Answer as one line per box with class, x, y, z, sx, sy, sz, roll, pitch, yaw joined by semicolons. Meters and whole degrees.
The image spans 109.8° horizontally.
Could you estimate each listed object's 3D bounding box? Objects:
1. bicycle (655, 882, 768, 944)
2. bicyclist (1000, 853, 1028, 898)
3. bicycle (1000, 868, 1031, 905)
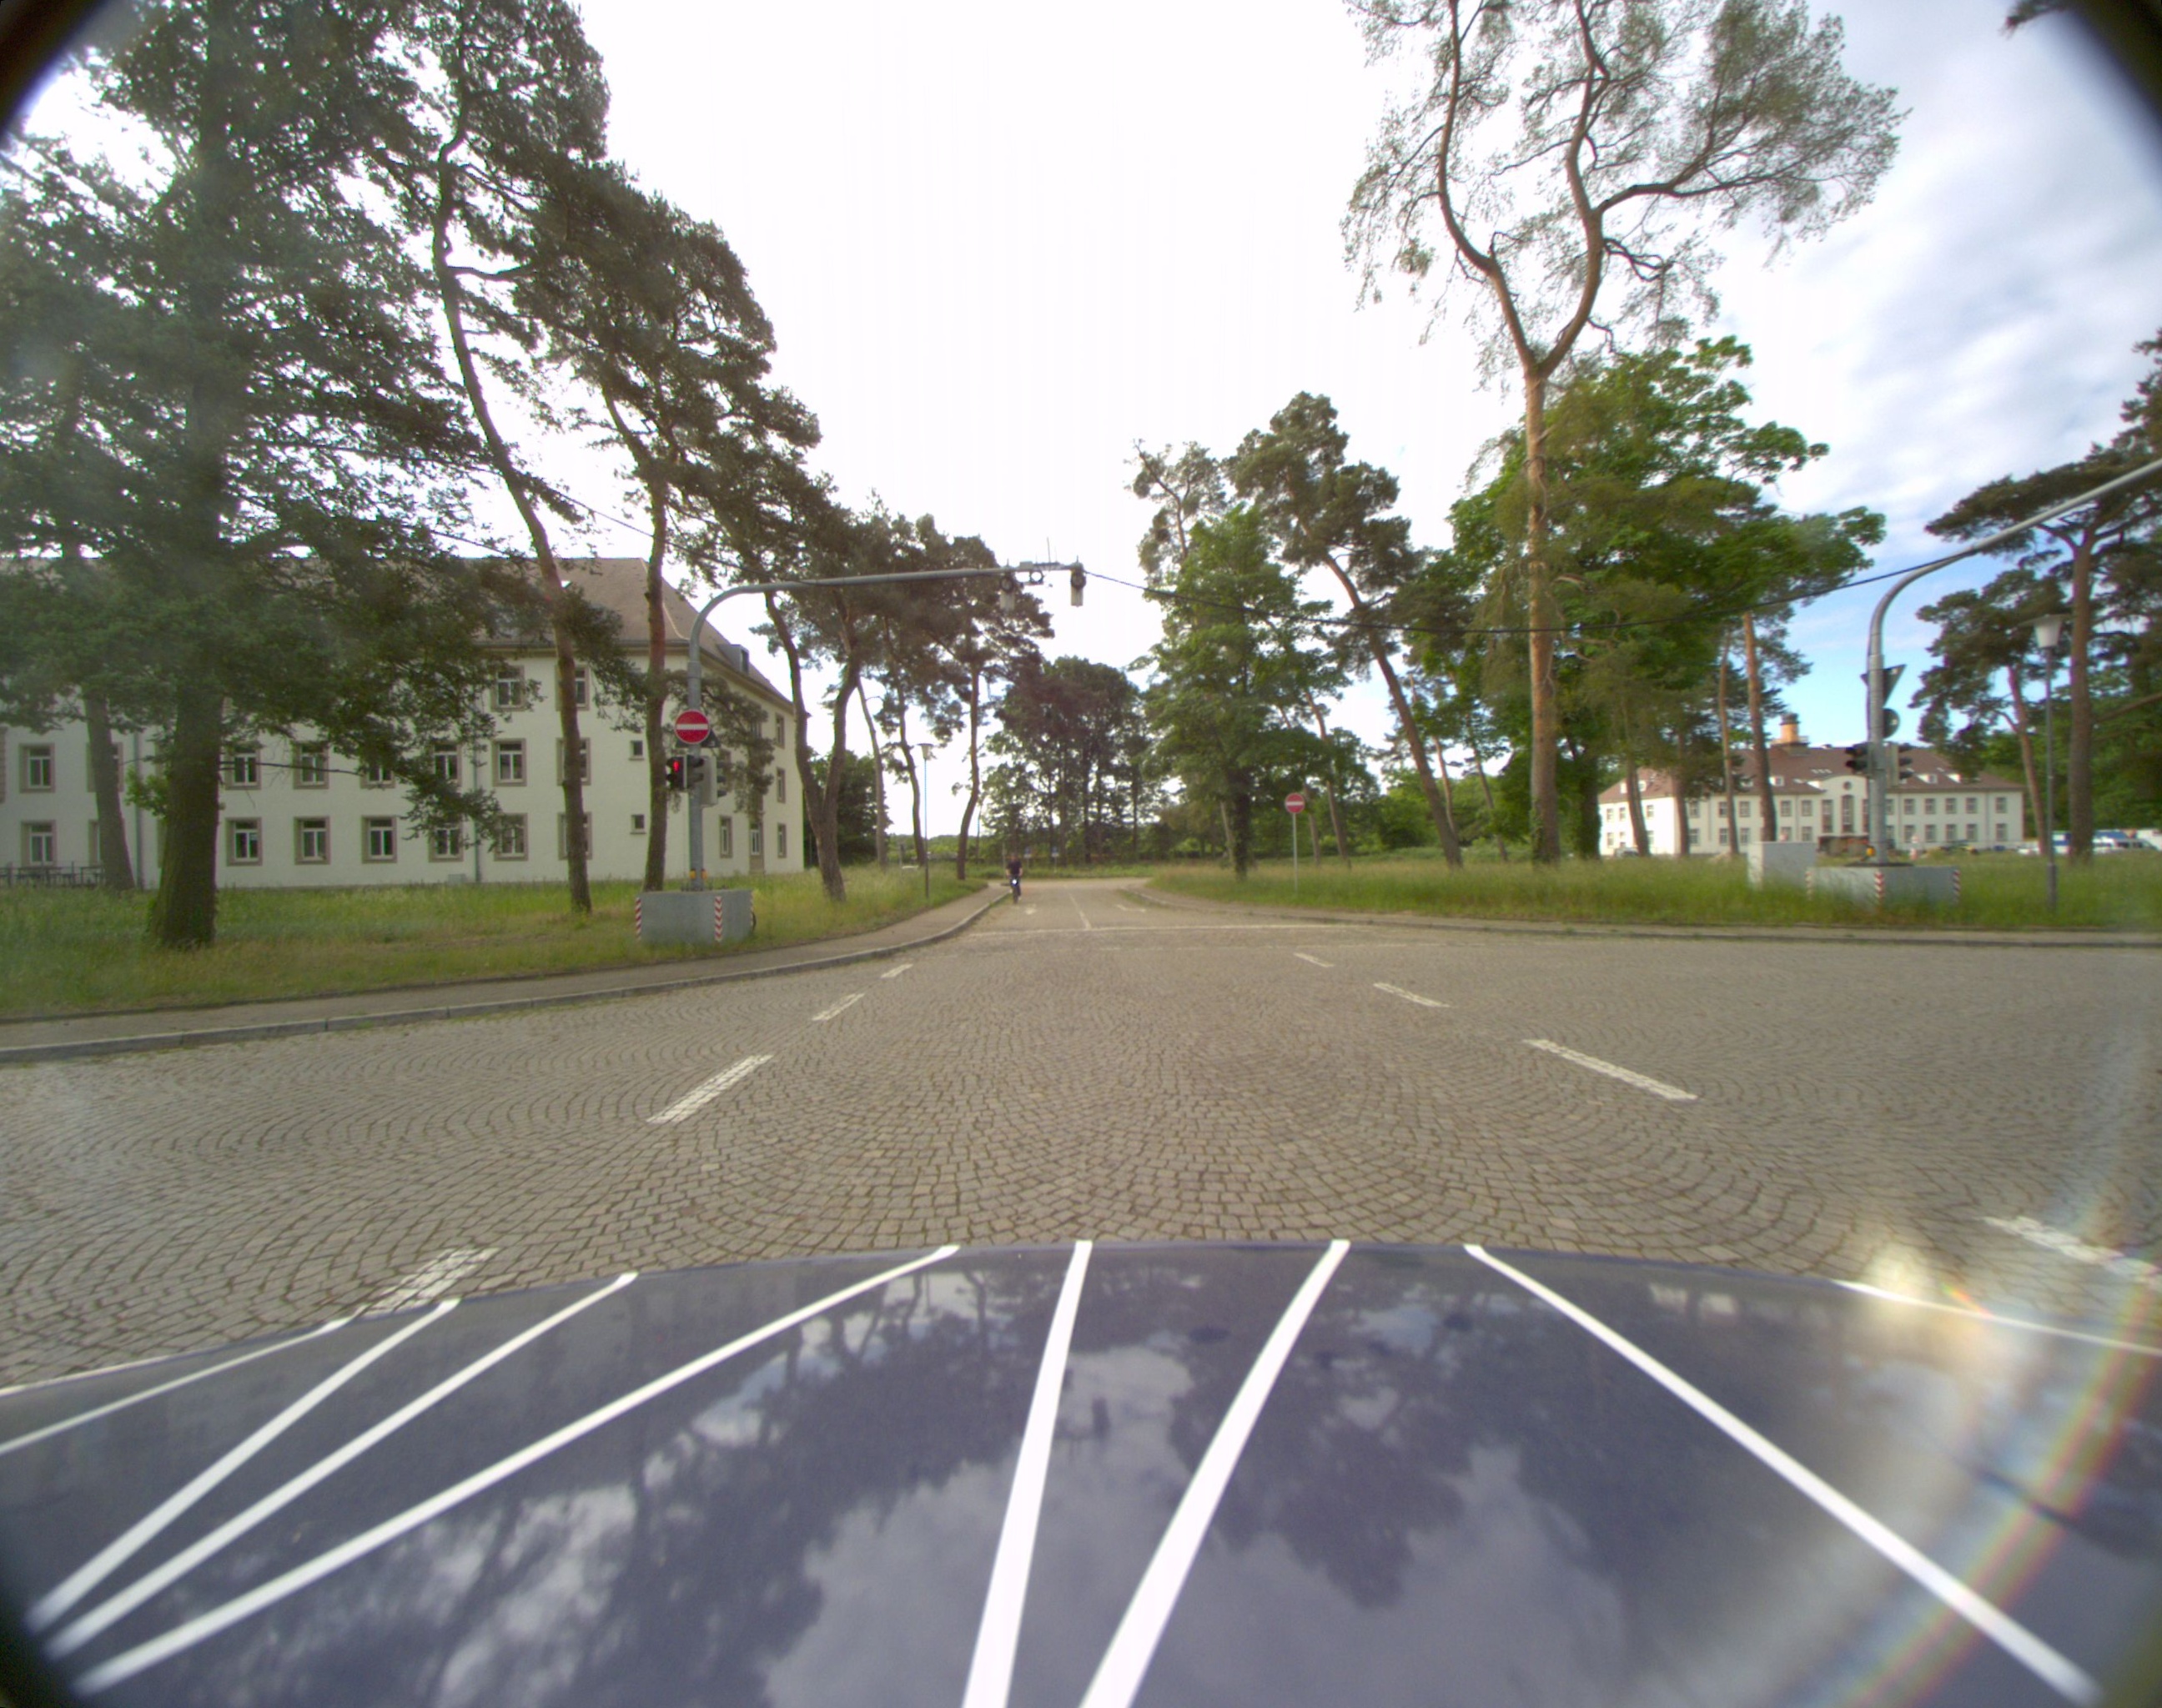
bicycle;-7.054;1.110;14.563;1.837;1.079;0.572;-1;2;-4
bicyclist;-2.515;0.799;28.635;0.964;1.625;0.917;-1;0;0
bicycle;-2.443;1.195;28.650;0.964;1.268;2.163;-1;0;0
